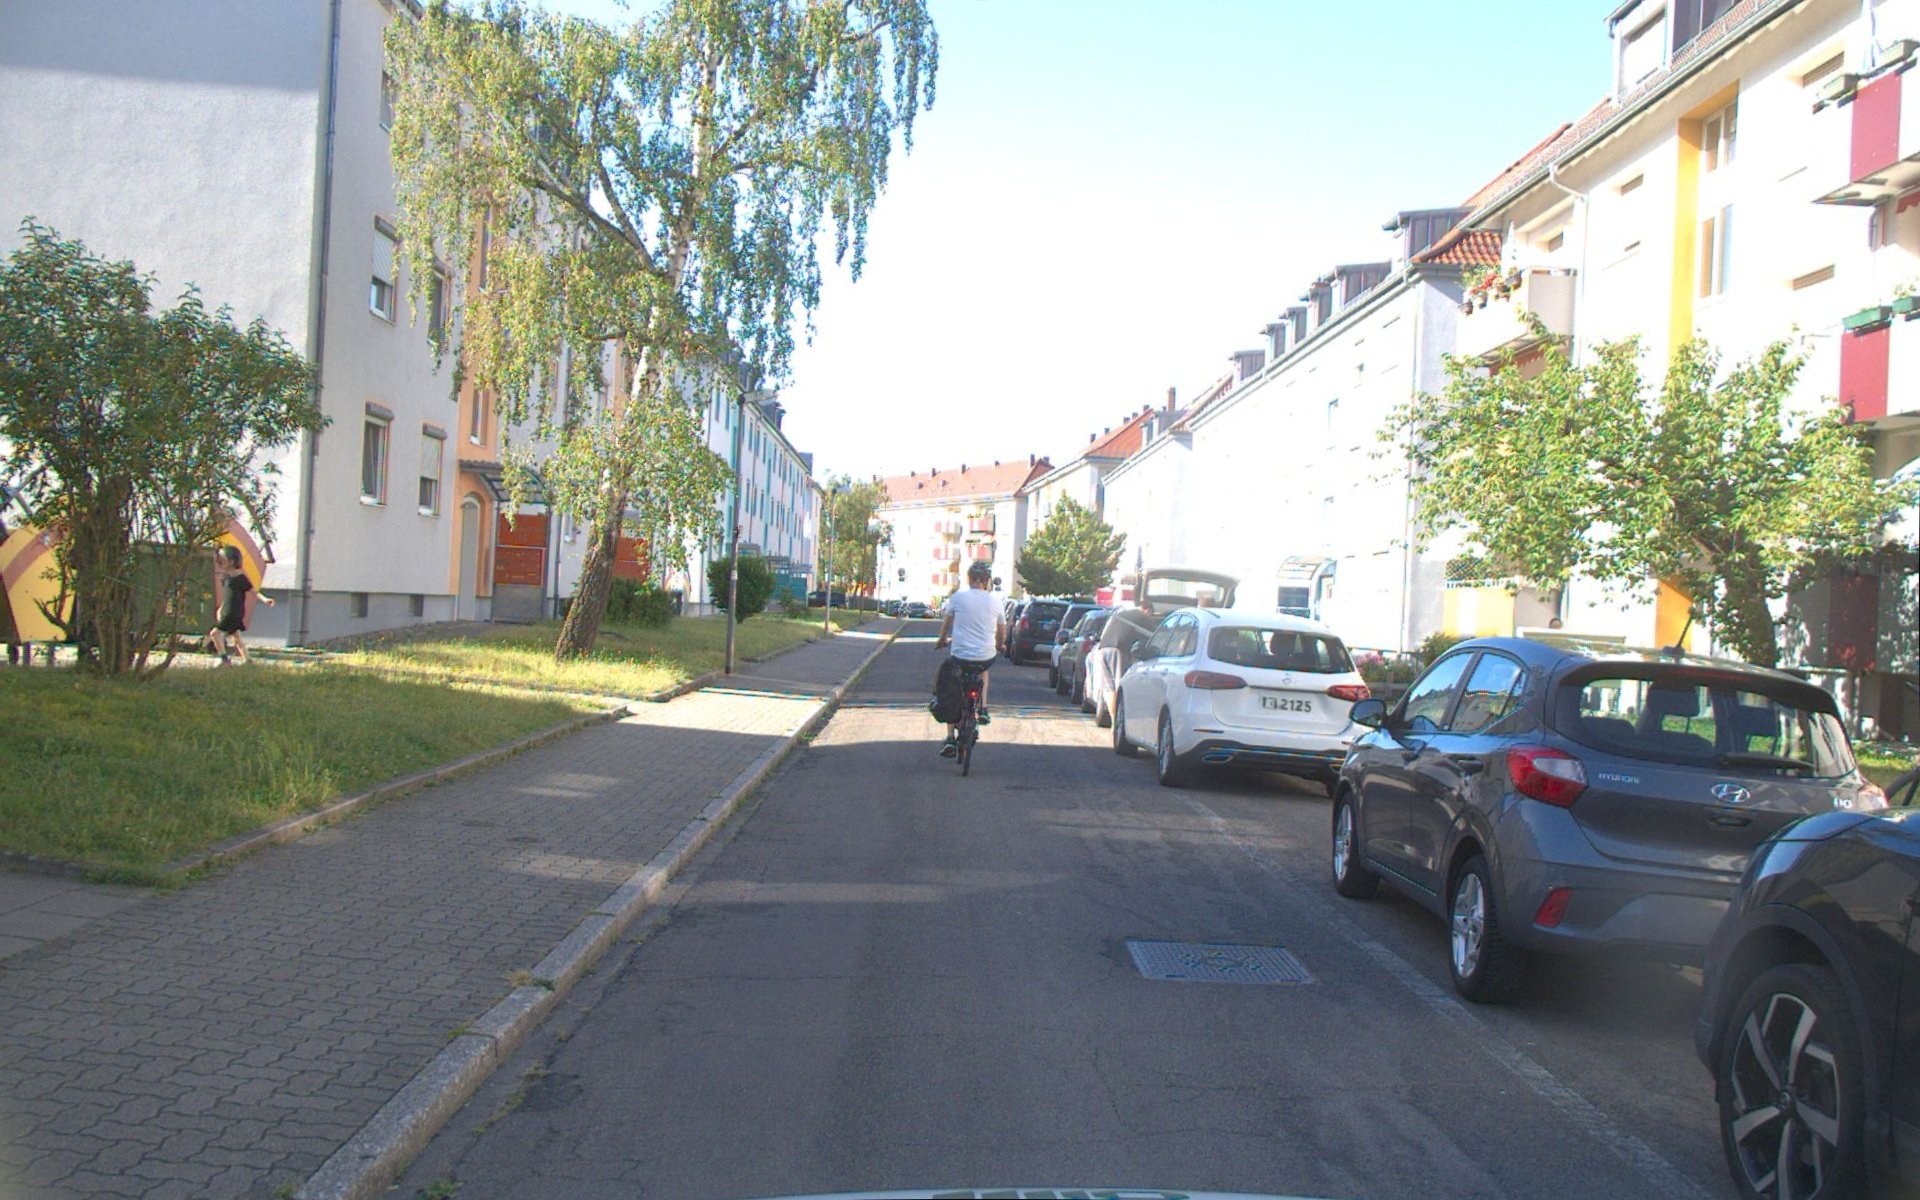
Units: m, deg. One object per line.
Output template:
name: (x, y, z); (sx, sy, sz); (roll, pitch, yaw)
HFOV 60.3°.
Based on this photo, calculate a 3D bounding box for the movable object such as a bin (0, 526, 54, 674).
movable object such as a bin: (-9.774, -0.029, 16.403); (1.062, 1.430, 0.812); (3, 0, -1)

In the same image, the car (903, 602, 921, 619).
car: (-4.132, 0.895, 142.674); (1.440, 1.358, 3.139); (1, 0, -3)

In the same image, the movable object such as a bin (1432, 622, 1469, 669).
movable object such as a bin: (11.184, 1.029, 37.723); (0.629, 1.053, 0.757); (1, -2, -1)

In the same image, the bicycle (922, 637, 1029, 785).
bicycle: (0.105, 0.943, 14.689); (0.792, 1.148, 2.100); (1, 0, -3)

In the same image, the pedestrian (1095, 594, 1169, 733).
pedestrian: (2.038, 0.737, 19.684); (0.724, 1.602, 0.879); (1, 0, -1)

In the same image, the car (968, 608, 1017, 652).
car: (1.372, 1.271, 71.139); (1.824, 1.697, 4.126); (4, 0, -1)

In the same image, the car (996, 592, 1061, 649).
car: (2.121, 0.612, 52.372); (1.656, 1.602, 4.433); (4, 0, -2)

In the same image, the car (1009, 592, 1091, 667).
car: (2.210, 0.701, 41.670); (1.747, 1.676, 4.468); (4, 0, 0)

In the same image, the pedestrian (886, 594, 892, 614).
pedestrian: (-5.762, 0.317, 134.258); (0.425, 1.602, 0.543); (1, 0, -1)

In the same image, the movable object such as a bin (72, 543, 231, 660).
movable object such as a bin: (-10.351, 0.020, 21.245); (1.360, 1.359, 1.228); (4, 0, -2)

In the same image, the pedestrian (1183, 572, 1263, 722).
pedestrian: (3.074, 0.543, 19.389); (0.803, 1.717, 0.604); (1, 0, -2)

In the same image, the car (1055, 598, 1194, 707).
car: (2.609, 0.797, 27.025); (1.660, 1.517, 3.983); (4, 0, -2)

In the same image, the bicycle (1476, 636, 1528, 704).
bicycle: (8.664, 1.112, 26.444); (0.725, 1.065, 0.239); (1, 0, 1)

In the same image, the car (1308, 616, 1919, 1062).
car: (2.913, 0.886, 8.007); (1.613, 1.474, 4.061); (4, 0, 1)

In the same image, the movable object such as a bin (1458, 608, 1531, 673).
movable object such as a bin: (12.163, 0.925, 37.664); (1.301, 1.431, 1.106); (1, -2, -1)

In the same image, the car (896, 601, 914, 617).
car: (-4.982, 0.780, 149.330); (1.440, 1.358, 3.138); (-1, 0, -5)

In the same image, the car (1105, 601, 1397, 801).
car: (2.583, 0.830, 15.780); (1.737, 1.531, 4.478); (3, 0, -3)

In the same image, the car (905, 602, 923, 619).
car: (-3.853, 0.843, 138.065); (1.440, 1.358, 3.139); (1, 0, -3)

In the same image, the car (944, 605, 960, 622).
car: (-0.760, 1.258, 154.733); (1.354, 1.523, 3.075); (1, 0, -3)

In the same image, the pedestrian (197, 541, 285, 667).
pedestrian: (-7.866, 0.042, 18.113); (0.672, 1.340, 0.575); (2, 0, -1)

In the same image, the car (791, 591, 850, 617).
car: (-10.087, 0.295, 119.431); (4.149, 1.667, 1.581); (2, 0, -5)

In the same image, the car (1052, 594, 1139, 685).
car: (2.540, 0.717, 31.499); (1.449, 1.555, 2.942); (4, 0, 3)

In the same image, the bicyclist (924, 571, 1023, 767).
bicyclist: (0.109, 0.598, 14.719); (0.792, 1.672, 0.898); (1, 0, -3)

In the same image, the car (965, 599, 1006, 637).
car: (1.227, 0.862, 81.859); (1.667, 1.700, 4.377); (4, 0, -3)

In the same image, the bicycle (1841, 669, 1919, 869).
bicycle: (6.873, 1.054, 10.200); (2.373, 1.150, 0.880); (1, 0, 5)

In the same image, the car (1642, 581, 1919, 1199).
car: (2.951, 0.785, 2.767); (1.688, 1.606, 4.351); (1, 0, -2)

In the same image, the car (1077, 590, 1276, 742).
car: (2.711, 0.761, 21.814); (1.953, 1.641, 4.996); (4, 0, 1)

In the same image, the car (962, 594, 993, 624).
car: (1.109, 0.575, 105.600); (1.641, 1.769, 3.940); (3, 0, -3)

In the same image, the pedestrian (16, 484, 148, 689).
pedestrian: (-8.222, -0.126, 15.514); (0.789, 1.855, 0.718); (2, 0, -1)

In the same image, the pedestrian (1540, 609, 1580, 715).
pedestrian: (8.741, 0.907, 24.100); (0.441, 1.521, 0.360); (2, -2, -1)

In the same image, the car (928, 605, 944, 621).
car: (-2.423, 1.301, 167.475); (1.440, 1.542, 3.075); (1, 0, -3)

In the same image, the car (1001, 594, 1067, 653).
car: (2.053, 0.633, 46.764); (1.608, 1.524, 4.156); (2, 0, 0)

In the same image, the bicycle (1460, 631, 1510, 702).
bicycle: (8.674, 1.090, 27.354); (0.395, 1.106, 1.299); (1, 0, 0)
